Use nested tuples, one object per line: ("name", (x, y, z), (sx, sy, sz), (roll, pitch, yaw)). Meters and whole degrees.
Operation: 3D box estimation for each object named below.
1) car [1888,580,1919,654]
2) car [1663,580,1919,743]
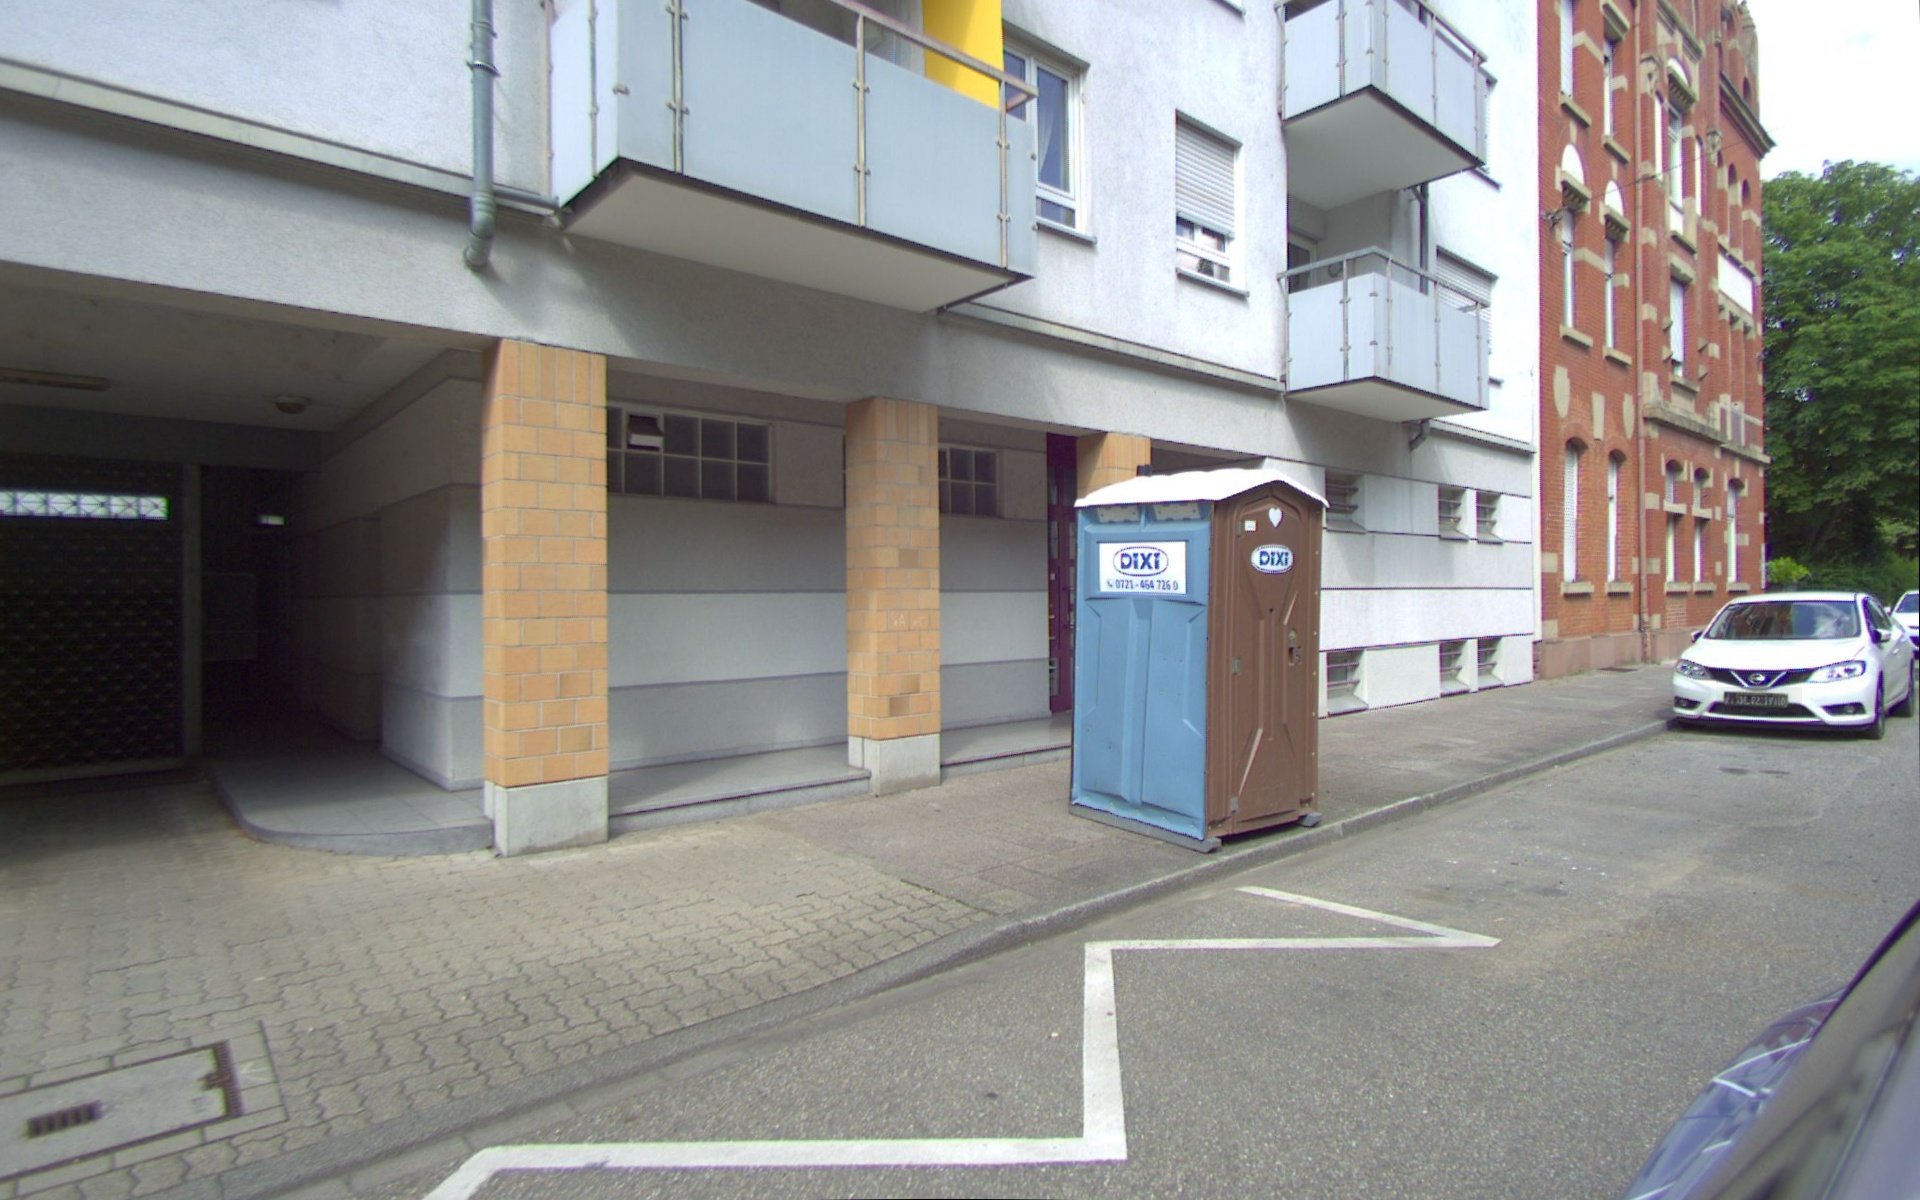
("car", (21.815, 0.322, 22.120), (3.971, 1.549, 1.799), (-1, -1, -41))
("car", (9.730, 0.569, 11.615), (3.971, 1.549, 1.799), (-1, 0, -41))
